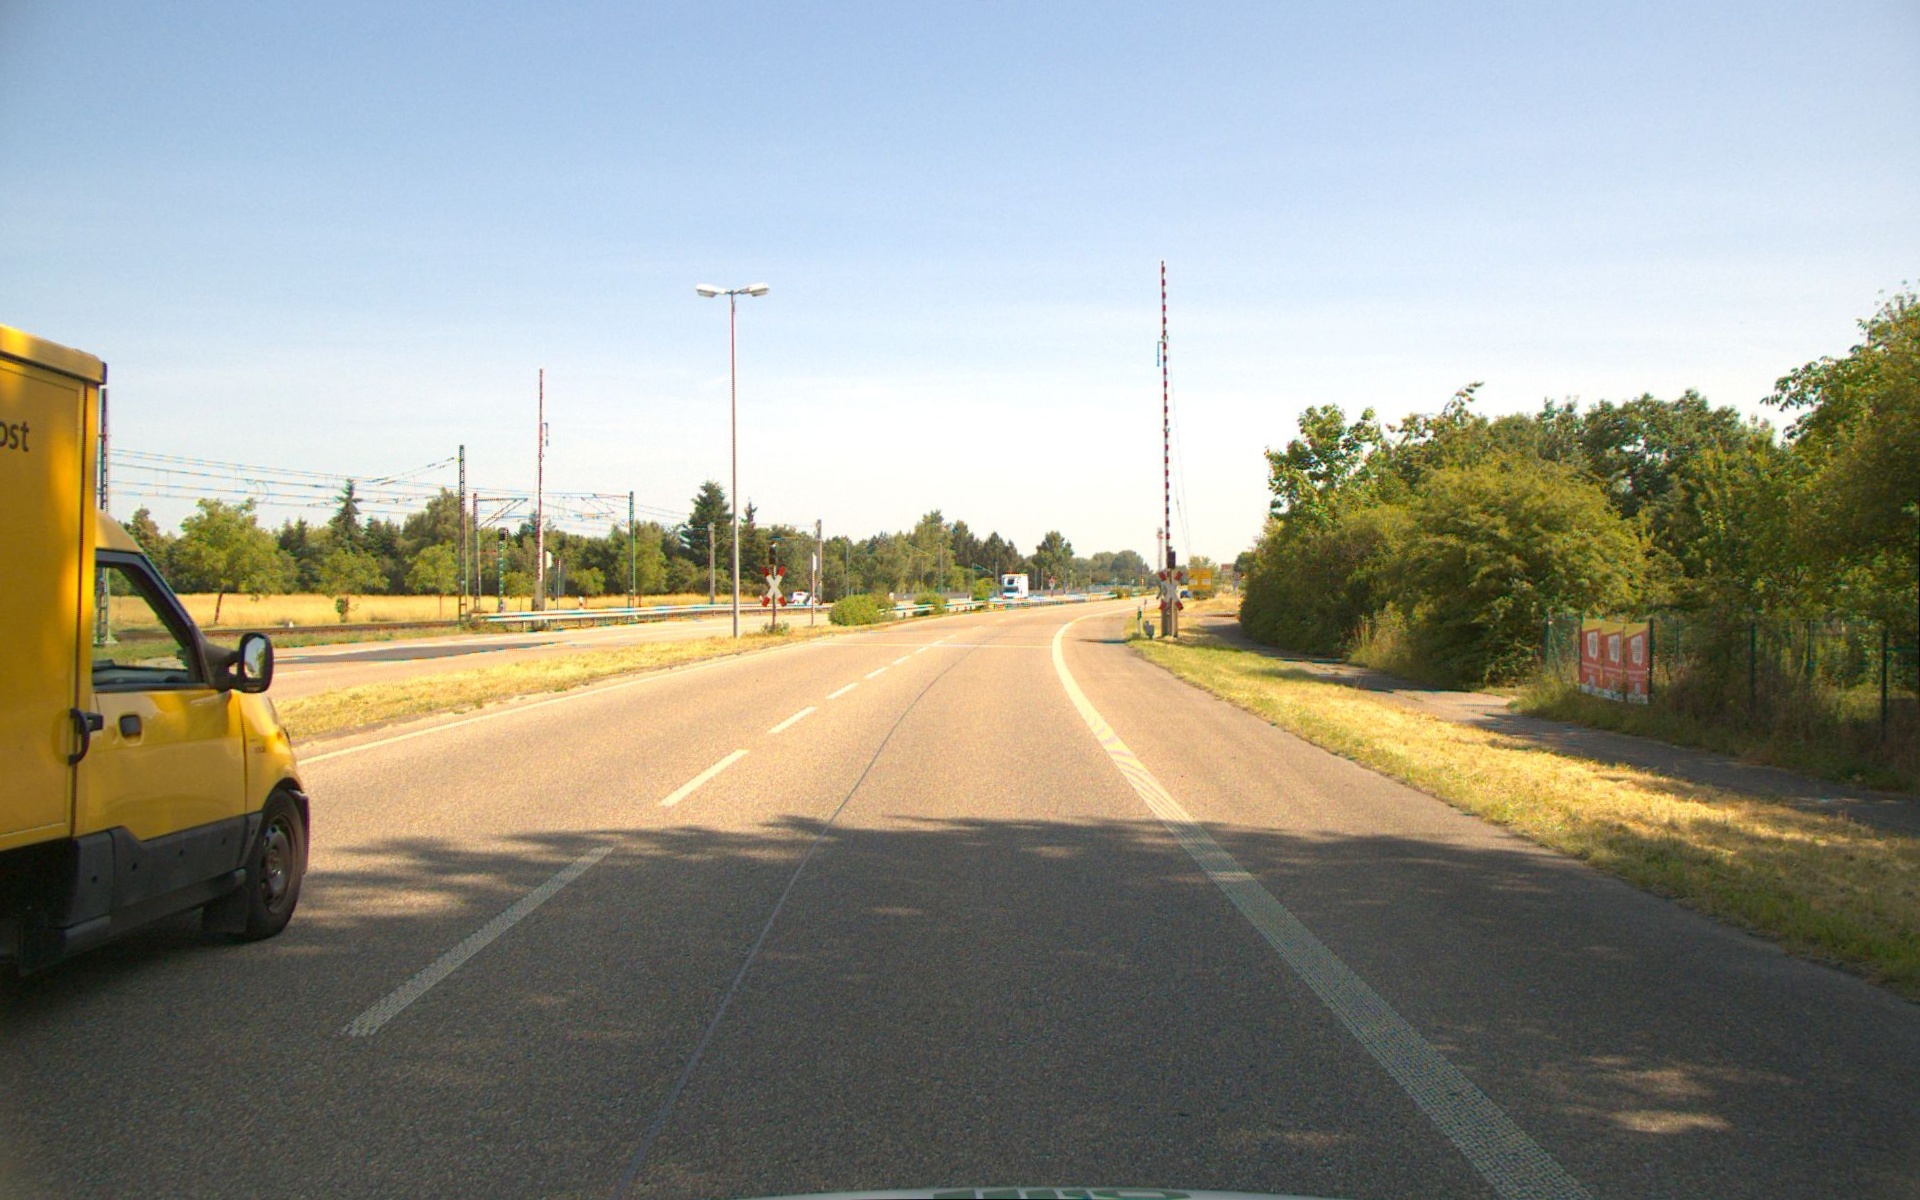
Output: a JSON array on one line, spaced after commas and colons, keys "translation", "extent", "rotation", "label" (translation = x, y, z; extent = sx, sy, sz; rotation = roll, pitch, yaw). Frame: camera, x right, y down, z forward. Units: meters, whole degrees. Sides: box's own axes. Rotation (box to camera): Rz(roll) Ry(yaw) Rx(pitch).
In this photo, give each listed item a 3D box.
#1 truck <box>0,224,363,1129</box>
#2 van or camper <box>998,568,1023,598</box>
[{"translation": [-3.690, 0.205, 4.682], "extent": [2.069, 2.500, 5.914], "rotation": [1, 0, -3], "label": "truck"}, {"translation": [6.368, -2.132, 208.688], "extent": [2.818, 3.745, 8.642], "rotation": [0, 0, -1], "label": "van or camper"}]
